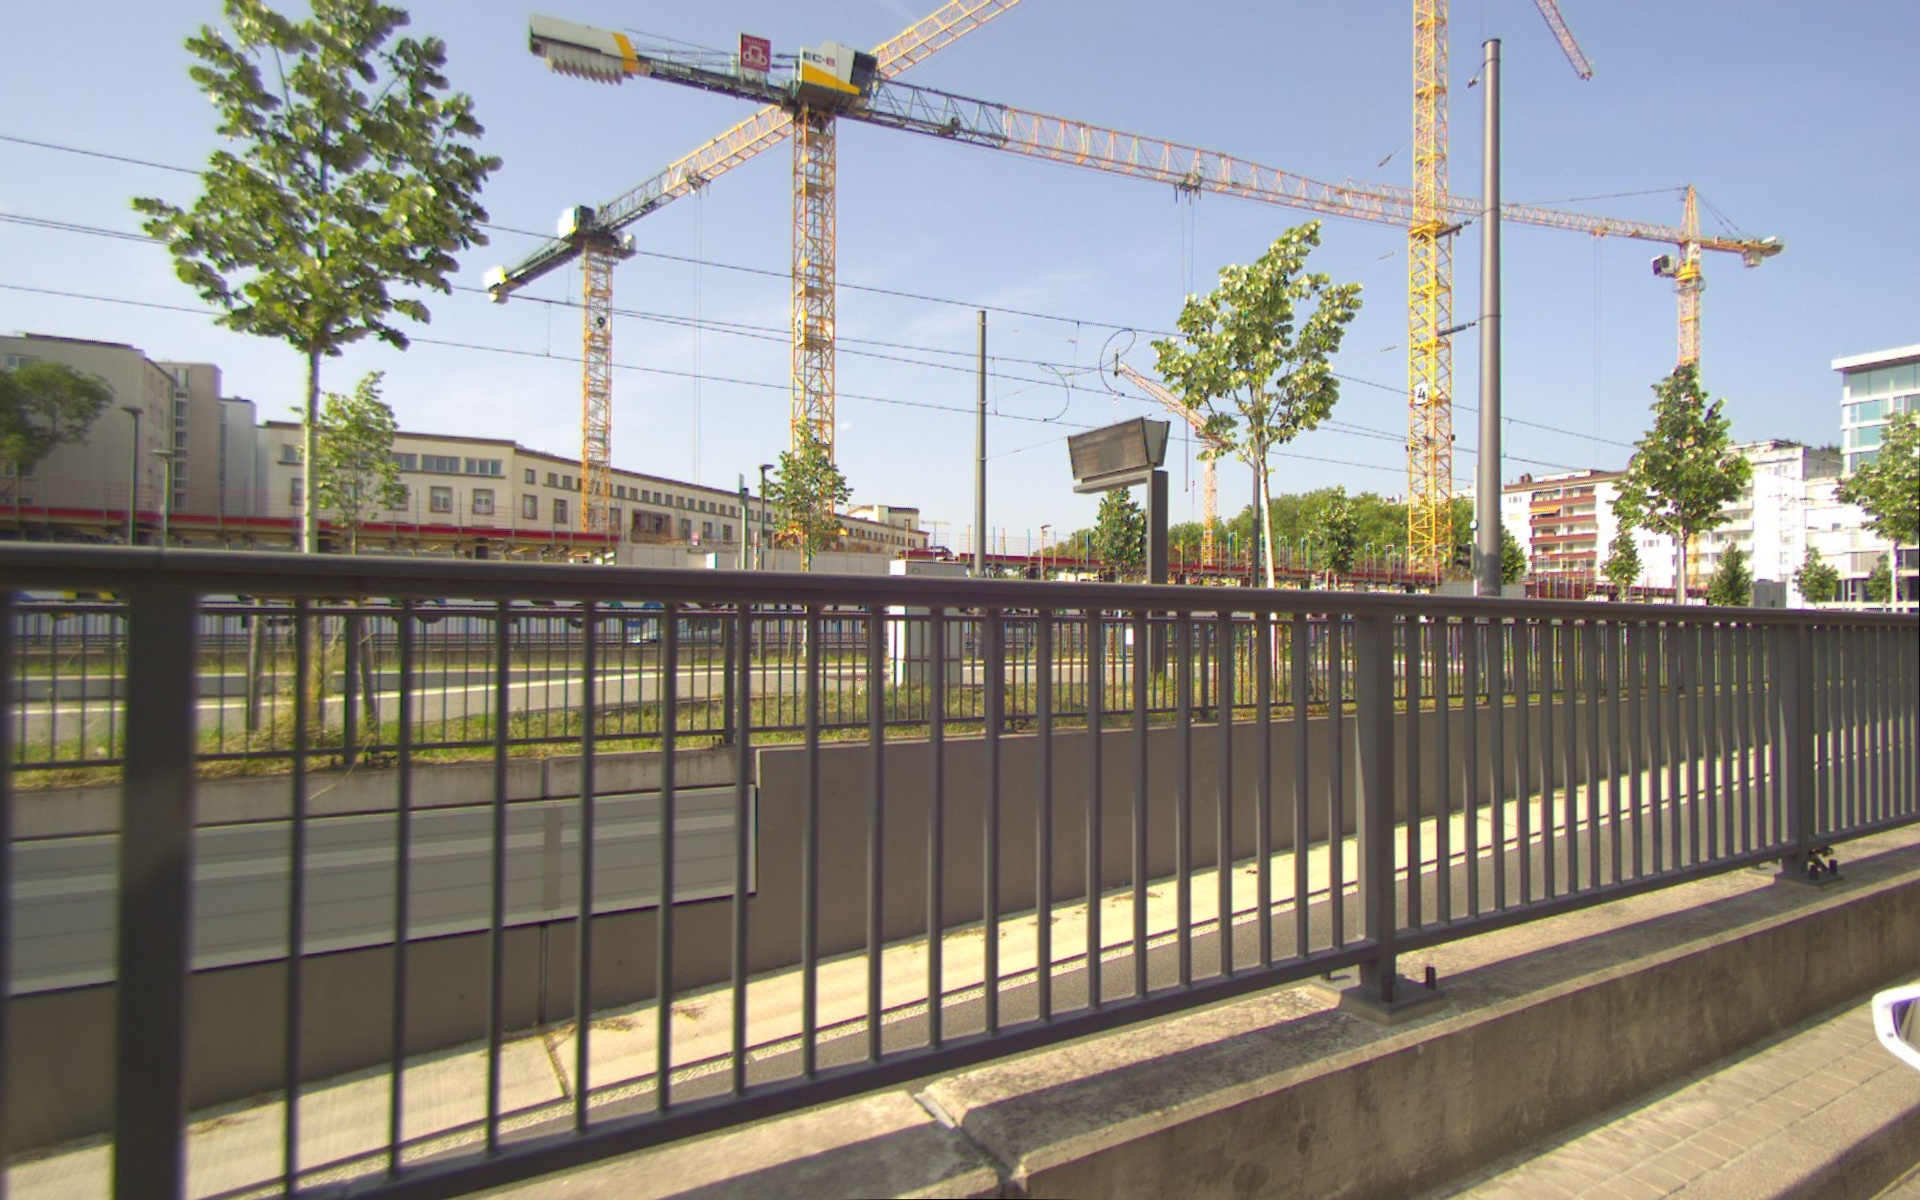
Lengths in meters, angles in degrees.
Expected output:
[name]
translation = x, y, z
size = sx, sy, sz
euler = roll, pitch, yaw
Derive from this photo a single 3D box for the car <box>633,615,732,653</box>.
[car]
translation = -9.346, 1.142, 33.828
size = 2.926, 1.218, 1.493
euler = 1, -1, -31
